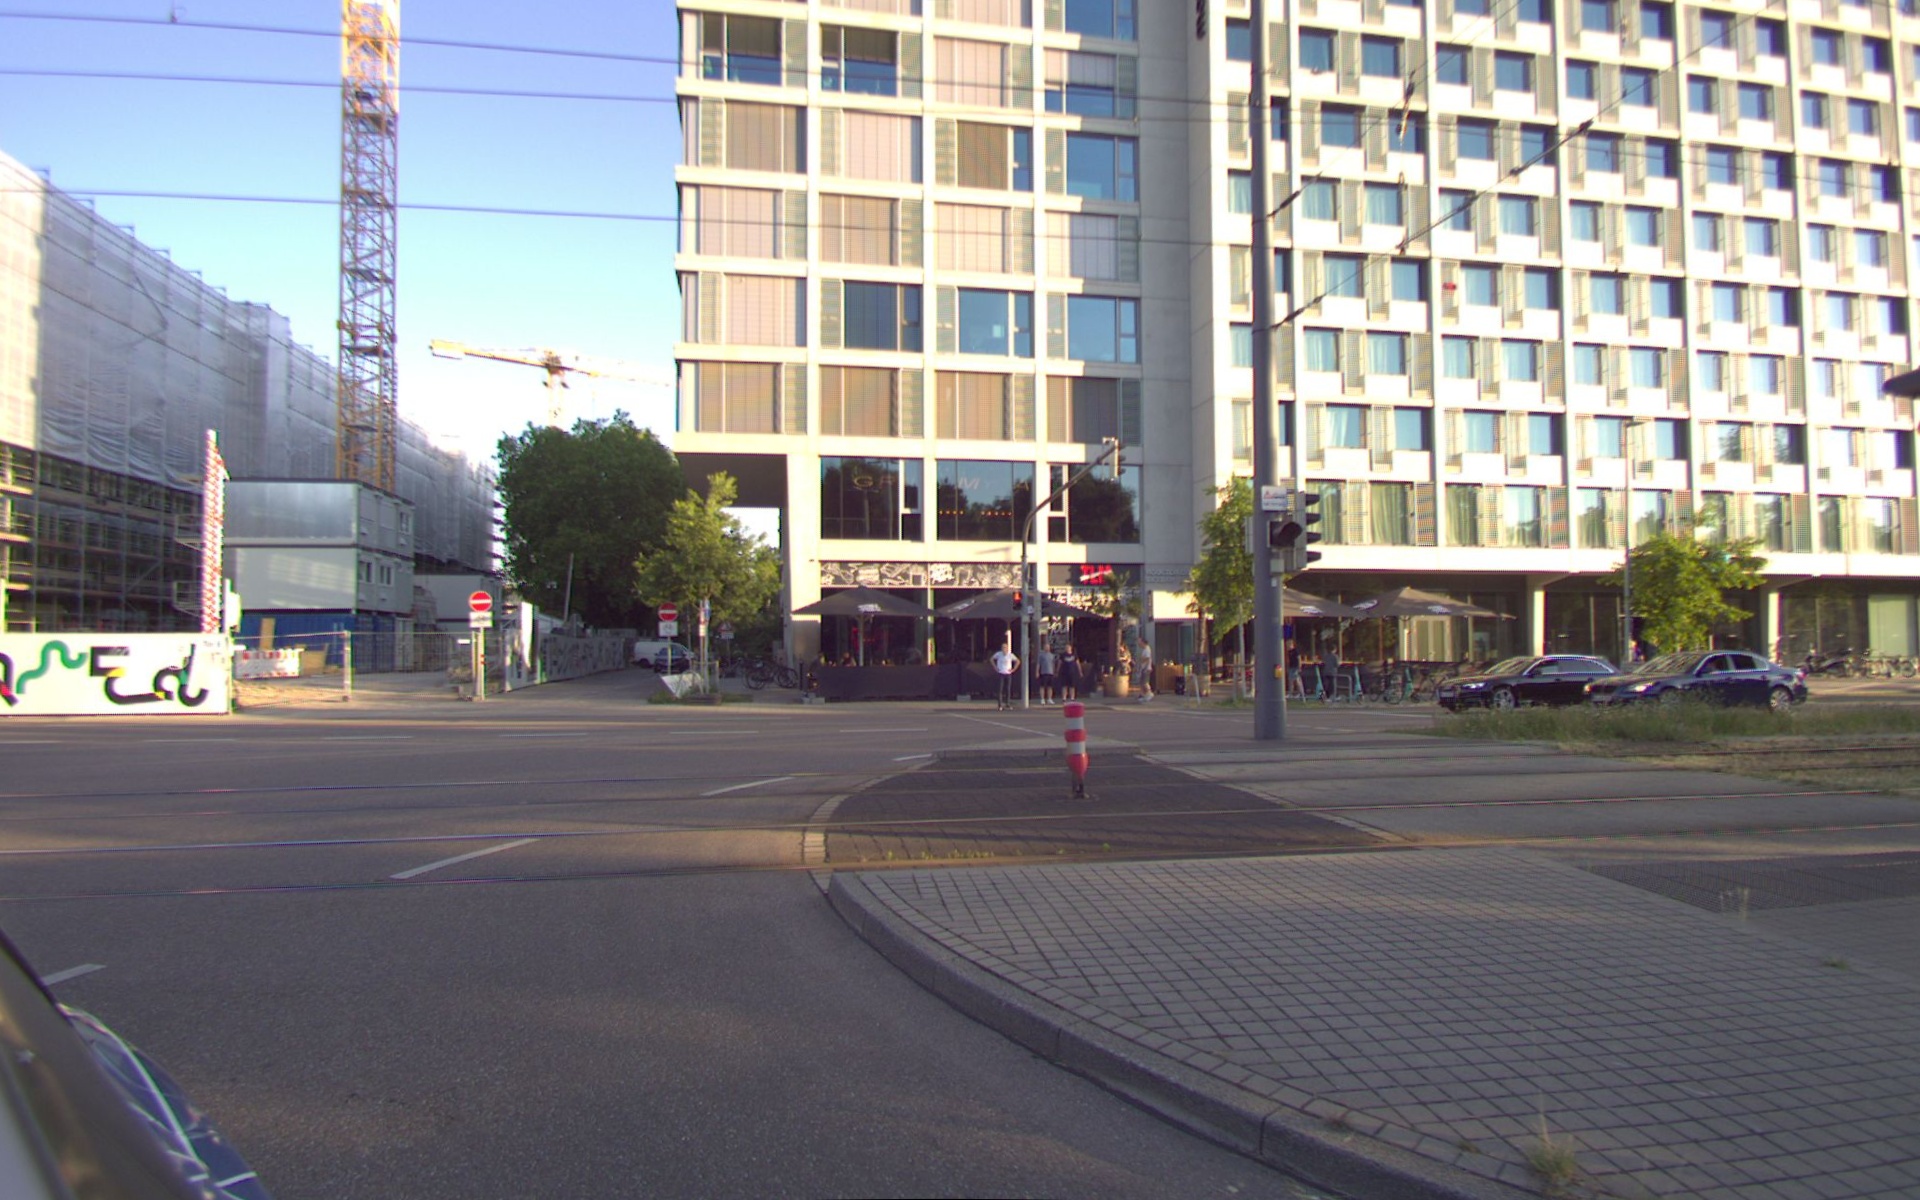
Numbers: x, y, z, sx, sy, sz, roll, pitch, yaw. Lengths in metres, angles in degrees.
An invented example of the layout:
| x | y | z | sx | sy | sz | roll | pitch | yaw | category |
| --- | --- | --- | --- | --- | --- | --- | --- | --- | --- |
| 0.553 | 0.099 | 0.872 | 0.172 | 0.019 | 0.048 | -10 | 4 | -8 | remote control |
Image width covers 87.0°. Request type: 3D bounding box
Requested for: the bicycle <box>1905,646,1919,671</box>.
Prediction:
| x | y | z | sx | sy | sz | roll | pitch | yaw | category |
| --- | --- | --- | --- | --- | --- | --- | --- | --- | --- |
| 41.410 | 2.490 | 43.017 | 0.414 | 1.028 | 1.798 | 0 | -3 | -15 | bicycle |

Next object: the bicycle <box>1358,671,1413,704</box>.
| x | y | z | sx | sy | sz | roll | pitch | yaw | category |
| --- | --- | --- | --- | --- | --- | --- | --- | --- | --- |
| 12.616 | 2.585 | 30.078 | 0.435 | 0.877 | 1.876 | 0 | -1 | -15 | bicycle |

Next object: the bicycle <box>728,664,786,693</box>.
| x | y | z | sx | sy | sz | roll | pitch | yaw | category |
| --- | --- | --- | --- | --- | --- | --- | --- | --- | --- |
| -7.078 | 2.742 | 35.309 | 1.945 | 0.881 | 0.396 | -2 | 0 | -13 | bicycle |

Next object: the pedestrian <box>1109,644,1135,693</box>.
| x | y | z | sx | sy | sz | roll | pitch | yaw | category |
| --- | --- | --- | --- | --- | --- | --- | --- | --- | --- |
| 5.397 | 2.270 | 33.648 | 0.698 | 1.616 | 0.681 | 0 | -1 | -4 | pedestrian |

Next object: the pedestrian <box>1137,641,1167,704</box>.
| x | y | z | sx | sy | sz | roll | pitch | yaw | category |
| --- | --- | --- | --- | --- | --- | --- | --- | --- | --- |
| 5.679 | 2.135 | 30.027 | 0.697 | 1.835 | 0.618 | 0 | 0 | -9 | pedestrian |

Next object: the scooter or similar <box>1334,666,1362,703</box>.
| x | y | z | sx | sy | sz | roll | pitch | yaw | category |
| --- | --- | --- | --- | --- | --- | --- | --- | --- | --- |
| 11.459 | 2.498 | 29.899 | 0.286 | 1.041 | 1.012 | 2 | -3 | -11 | scooter or similar |

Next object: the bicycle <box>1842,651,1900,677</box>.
| x | y | z | sx | sy | sz | roll | pitch | yaw | category |
| --- | --- | --- | --- | --- | --- | --- | --- | --- | --- |
| 37.828 | 2.636 | 42.051 | 0.414 | 1.028 | 1.798 | 0 | -3 | -15 | bicycle |

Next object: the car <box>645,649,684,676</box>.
| x | y | z | sx | sy | sz | roll | pitch | yaw | category |
| --- | --- | --- | --- | --- | --- | --- | --- | --- | --- |
| -18.212 | 3.825 | 62.587 | 1.976 | 1.610 | 3.714 | 0 | -3 | -11 | car |

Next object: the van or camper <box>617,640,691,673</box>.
| x | y | z | sx | sy | sz | roll | pitch | yaw | category |
| --- | --- | --- | --- | --- | --- | --- | --- | --- | --- |
| -22.651 | 4.198 | 75.060 | 4.876 | 2.139 | 2.496 | -2 | -3 | -7 | van or camper |

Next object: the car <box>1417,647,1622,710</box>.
| x | y | z | sx | sy | sz | roll | pitch | yaw | category |
| --- | --- | --- | --- | --- | --- | --- | --- | --- | --- |
| 13.831 | 1.932 | 25.104 | 4.153 | 1.451 | 1.896 | 0 | -4 | -13 | car |

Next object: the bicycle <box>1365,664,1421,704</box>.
| x | y | z | sx | sy | sz | roll | pitch | yaw | category |
| --- | --- | --- | --- | --- | --- | --- | --- | --- | --- |
| 12.902 | 2.499 | 30.198 | 0.435 | 1.067 | 1.920 | 0 | -1 | -15 | bicycle |

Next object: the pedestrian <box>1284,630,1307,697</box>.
| x | y | z | sx | sy | sz | roll | pitch | yaw | category |
| --- | --- | --- | --- | --- | --- | --- | --- | --- | --- |
| 10.423 | 1.964 | 31.437 | 0.549 | 2.029 | 0.497 | -2 | -3 | 30 | pedestrian |

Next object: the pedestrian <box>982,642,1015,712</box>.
| x | y | z | sx | sy | sz | roll | pitch | yaw | category |
| --- | --- | --- | --- | --- | --- | --- | --- | --- | --- |
| 1.063 | 2.108 | 27.889 | 0.750 | 1.850 | 0.710 | 0 | 0 | -13 | pedestrian |

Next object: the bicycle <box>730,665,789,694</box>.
| x | y | z | sx | sy | sz | roll | pitch | yaw | category |
| --- | --- | --- | --- | --- | --- | --- | --- | --- | --- |
| -6.831 | 2.688 | 34.440 | 1.945 | 0.881 | 0.396 | -1 | -1 | -13 | bicycle |

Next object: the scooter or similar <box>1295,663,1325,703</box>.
| x | y | z | sx | sy | sz | roll | pitch | yaw | category |
| --- | --- | --- | --- | --- | --- | --- | --- | --- | --- |
| 10.342 | 2.440 | 29.926 | 0.332 | 1.093 | 0.977 | 3 | -1 | -11 | scooter or similar |

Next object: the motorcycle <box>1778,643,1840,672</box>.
| x | y | z | sx | sy | sz | roll | pitch | yaw | category |
| --- | --- | --- | --- | --- | --- | --- | --- | --- | --- |
| 35.120 | 2.367 | 41.887 | 0.507 | 1.180 | 1.904 | 1 | -2 | -26 | motorcycle |

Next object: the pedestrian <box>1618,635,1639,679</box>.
| x | y | z | sx | sy | sz | roll | pitch | yaw | category |
| --- | --- | --- | --- | --- | --- | --- | --- | --- | --- |
| 25.894 | 2.204 | 39.182 | 0.507 | 1.669 | 0.431 | 0 | 0 | -10 | pedestrian |

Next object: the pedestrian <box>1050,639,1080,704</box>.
| x | y | z | sx | sy | sz | roll | pitch | yaw | category |
| --- | --- | --- | --- | --- | --- | --- | --- | --- | --- |
| 3.054 | 2.085 | 29.514 | 0.669 | 1.850 | 0.710 | 1 | -1 | -13 | pedestrian |

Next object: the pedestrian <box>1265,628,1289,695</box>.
| x | y | z | sx | sy | sz | roll | pitch | yaw | category |
| --- | --- | --- | --- | --- | --- | --- | --- | --- | --- |
| 9.662 | 1.878 | 30.879 | 0.549 | 2.029 | 0.497 | -2 | -3 | 30 | pedestrian |

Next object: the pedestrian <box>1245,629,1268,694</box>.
| x | y | z | sx | sy | sz | roll | pitch | yaw | category |
| --- | --- | --- | --- | --- | --- | --- | --- | --- | --- |
| 9.297 | 1.932 | 31.750 | 0.549 | 2.029 | 0.497 | -2 | -3 | 30 | pedestrian |

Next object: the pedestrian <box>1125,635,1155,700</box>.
| x | y | z | sx | sy | sz | roll | pitch | yaw | category |
| --- | --- | --- | --- | --- | --- | --- | --- | --- | --- |
| 5.453 | 2.040 | 30.751 | 0.697 | 1.938 | 0.682 | 0 | 0 | -10 | pedestrian |

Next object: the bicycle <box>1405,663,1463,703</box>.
| x | y | z | sx | sy | sz | roll | pitch | yaw | category |
| --- | --- | --- | --- | --- | --- | --- | --- | --- | --- |
| 14.230 | 2.472 | 30.415 | 0.435 | 1.067 | 1.920 | 0 | -1 | -15 | bicycle |

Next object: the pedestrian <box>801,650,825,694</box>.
| x | y | z | sx | sy | sz | roll | pitch | yaw | category |
| --- | --- | --- | --- | --- | --- | --- | --- | --- | --- |
| -4.986 | 2.425 | 34.388 | 0.760 | 1.474 | 0.607 | 0 | -3 | -12 | pedestrian |

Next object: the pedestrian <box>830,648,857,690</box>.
| x | y | z | sx | sy | sz | roll | pitch | yaw | category |
| --- | --- | --- | --- | --- | --- | --- | --- | --- | --- |
| -4.005 | 2.377 | 34.838 | 0.759 | 1.425 | 0.608 | 1 | -3 | -27 | pedestrian |

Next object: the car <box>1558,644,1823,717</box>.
| x | y | z | sx | sy | sz | roll | pitch | yaw | category |
| --- | --- | --- | --- | --- | --- | --- | --- | --- | --- |
| 16.033 | 1.749 | 22.314 | 4.721 | 1.452 | 2.026 | 0 | -4 | -13 | car |
